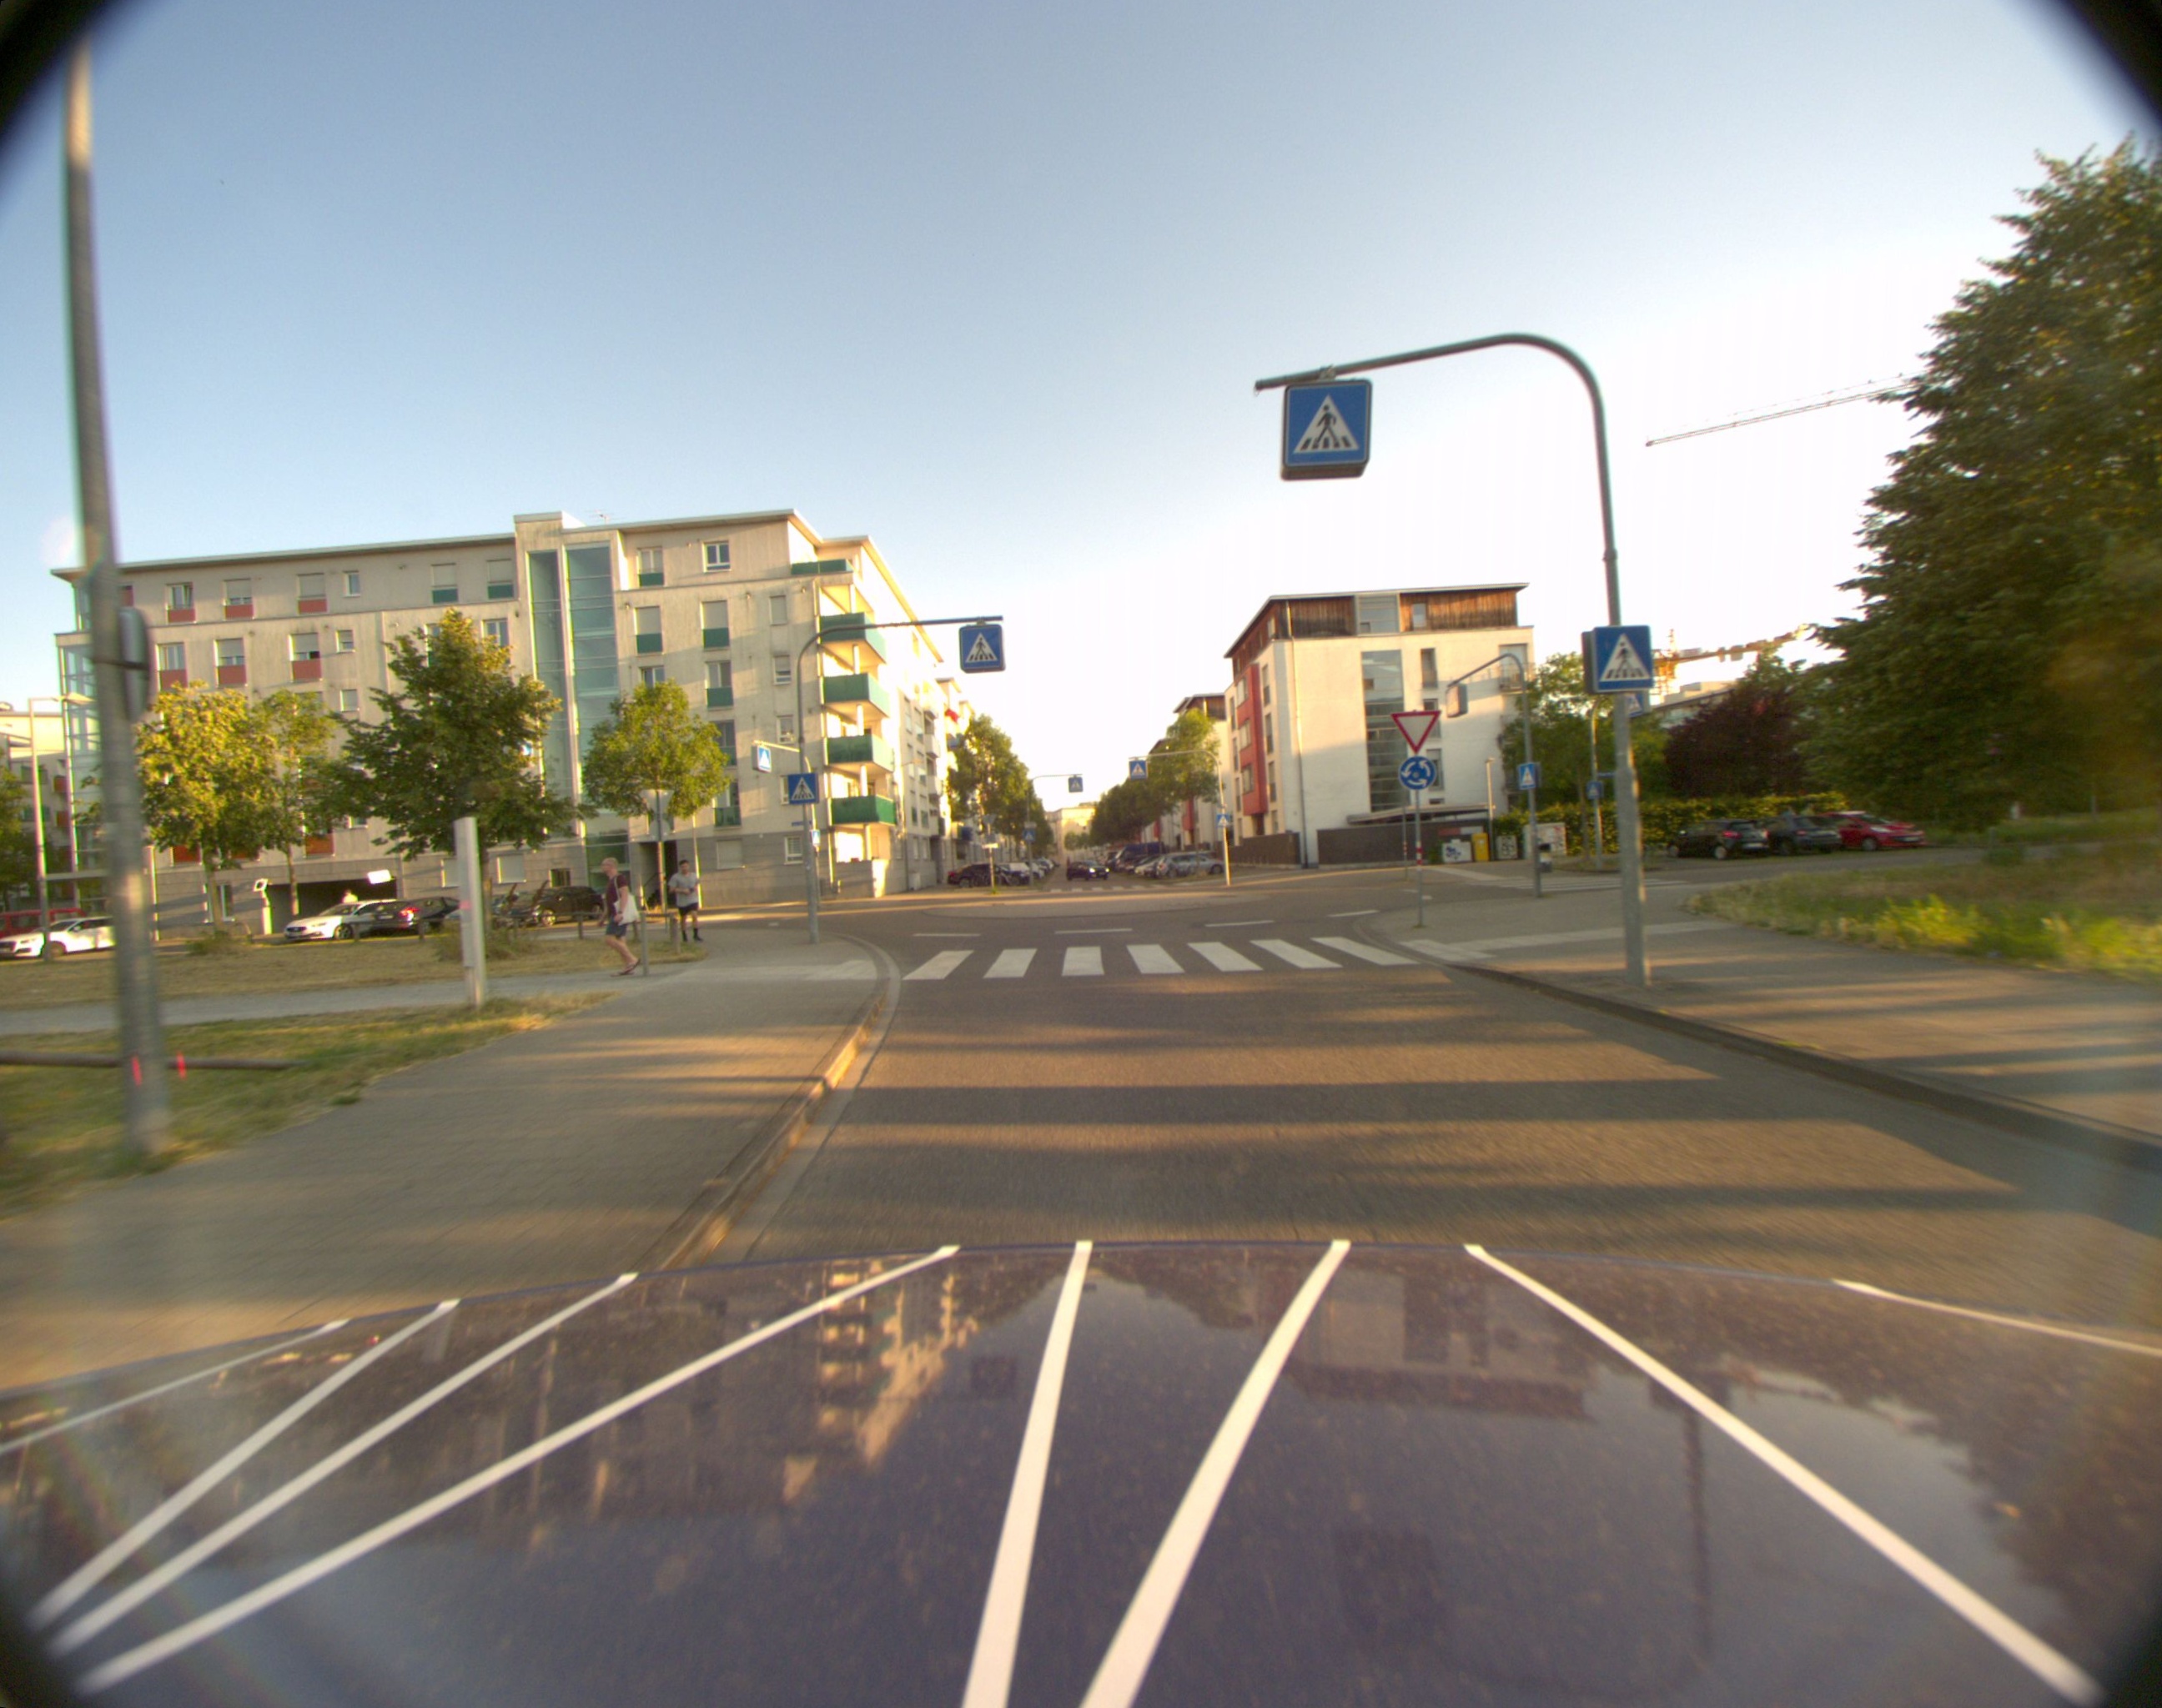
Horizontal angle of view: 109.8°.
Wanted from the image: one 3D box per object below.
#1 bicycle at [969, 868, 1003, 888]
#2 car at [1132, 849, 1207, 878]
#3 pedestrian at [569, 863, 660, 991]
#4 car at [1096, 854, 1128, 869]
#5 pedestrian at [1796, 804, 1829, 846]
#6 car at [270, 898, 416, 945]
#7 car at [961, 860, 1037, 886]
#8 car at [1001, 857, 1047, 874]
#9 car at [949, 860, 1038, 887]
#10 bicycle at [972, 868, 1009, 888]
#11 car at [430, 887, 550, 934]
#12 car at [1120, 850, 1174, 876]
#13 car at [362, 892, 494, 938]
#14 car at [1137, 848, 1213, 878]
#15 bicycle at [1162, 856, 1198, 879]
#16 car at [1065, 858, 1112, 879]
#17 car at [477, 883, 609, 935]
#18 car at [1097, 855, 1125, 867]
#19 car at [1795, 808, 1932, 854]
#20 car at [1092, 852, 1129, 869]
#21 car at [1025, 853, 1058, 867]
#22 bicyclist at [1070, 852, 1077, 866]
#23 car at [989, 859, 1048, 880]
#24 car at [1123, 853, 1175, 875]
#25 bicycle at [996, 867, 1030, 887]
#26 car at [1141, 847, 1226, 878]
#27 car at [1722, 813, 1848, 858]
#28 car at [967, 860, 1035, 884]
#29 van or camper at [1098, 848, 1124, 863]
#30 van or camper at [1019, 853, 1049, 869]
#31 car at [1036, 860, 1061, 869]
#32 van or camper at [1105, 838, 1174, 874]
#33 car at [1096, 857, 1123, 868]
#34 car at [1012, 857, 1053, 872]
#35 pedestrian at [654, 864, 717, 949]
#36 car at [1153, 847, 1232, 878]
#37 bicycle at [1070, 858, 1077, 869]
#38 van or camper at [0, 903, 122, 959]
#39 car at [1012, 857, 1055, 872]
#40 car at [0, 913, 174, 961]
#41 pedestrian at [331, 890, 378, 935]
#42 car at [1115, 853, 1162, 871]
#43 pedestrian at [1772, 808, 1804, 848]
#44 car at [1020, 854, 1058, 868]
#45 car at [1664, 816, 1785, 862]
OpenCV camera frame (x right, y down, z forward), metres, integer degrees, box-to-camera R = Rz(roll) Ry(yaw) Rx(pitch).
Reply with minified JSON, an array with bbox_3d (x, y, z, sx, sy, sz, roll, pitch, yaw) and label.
[{"bbox_3d":[-5.188,1.296,41.471,1.793,1.035,0.567,-1,-1,-5],"label":"bicycle"},{"bbox_3d":[6.089,0.655,52.625,4.760,1.575,1.758,-5,-1,-5],"label":"car"},{"bbox_3d":[-6.859,1.045,11.209,0.734,1.773,0.802,-4,-1,0],"label":"pedestrian"},{"bbox_3d":[4.185,1.022,103.429,4.252,1.991,1.692,-1,-1,-2],"label":"car"},{"bbox_3d":[30.157,-1.194,31.319,0.744,1.657,0.623,-5,1,-21],"label":"pedestrian"},{"bbox_3d":[-28.881,2.607,29.930,1.700,1.471,4.057,-4,-1,1],"label":"car"},{"bbox_3d":[-5.061,1.159,47.168,4.412,1.499,1.743,-1,-1,2],"label":"car"},{"bbox_3d":[-5.146,1.032,69.165,4.103,1.500,1.665,-1,-1,-5],"label":"car"},{"bbox_3d":[-5.074,1.126,44.458,4.886,1.449,1.938,-1,-1,1],"label":"car"},{"bbox_3d":[-5.083,1.350,42.591,2.035,1.040,0.473,-1,-1,-5],"label":"bicycle"},{"bbox_3d":[-23.658,2.220,30.641,1.558,1.366,4.005,-4,2,1],"label":"car"},{"bbox_3d":[5.167,0.709,60.006,3.919,1.700,1.723,-4,0,-5],"label":"car"},{"bbox_3d":[-26.150,2.401,30.625,1.700,1.471,4.057,-4,-1,1],"label":"car"},{"bbox_3d":[6.185,0.592,50.227,4.784,1.546,1.711,-5,-1,3],"label":"car"},{"bbox_3d":[5.482,0.741,42.049,1.821,1.060,0.567,-7,0,-3],"label":"bicycle"},{"bbox_3d":[0.530,1.055,55.424,1.780,1.454,4.170,-1,-1,-25],"label":"car"},{"bbox_3d":[-20.905,2.090,29.812,1.832,1.479,4.479,-4,2,1],"label":"car"},{"bbox_3d":[4.685,1.124,117.302,4.251,1.775,1.693,-1,-1,0],"label":"car"},{"bbox_3d":[29.080,-0.816,28.393,1.593,1.491,3.411,-4,0,1],"label":"car"},{"bbox_3d":[3.537,0.794,90.583,4.252,1.919,1.692,-1,-1,-2],"label":"car"},{"bbox_3d":[-5.220,0.738,100.681,4.251,1.768,1.693,-1,-1,0],"label":"car"},{"bbox_3d":[-0.928,0.602,90.766,0.767,1.617,0.663,-4,-1,-2],"label":"bicyclist"},{"bbox_3d":[-4.687,1.147,57.291,4.295,1.499,1.685,-1,-1,-4],"label":"car"},{"bbox_3d":[5.535,0.819,62.302,3.919,1.506,1.723,-4,0,-5],"label":"car"},{"bbox_3d":[-3.780,1.293,42.197,1.840,1.065,0.473,-1,-1,-5],"label":"bicycle"},{"bbox_3d":[6.356,0.552,47.387,4.916,1.469,1.710,-5,-1,-3],"label":"car"},{"bbox_3d":[26.522,-0.669,28.762,1.593,1.491,3.411,-4,0,1],"label":"car"},{"bbox_3d":[-5.211,1.152,49.773,4.294,1.485,1.742,-1,-1,-2],"label":"car"},{"bbox_3d":[5.052,0.293,127.573,4.251,2.520,1.761,-1,0,0],"label":"van or camper"},{"bbox_3d":[-6.807,1.006,110.228,4.251,2.197,1.692,-1,0,-1],"label":"van or camper"},{"bbox_3d":[-5.774,1.846,134.113,4.251,1.629,1.693,-1,-1,0],"label":"car"},{"bbox_3d":[5.757,0.216,75.554,6.315,3.069,2.442,-4,0,-5],"label":"van or camper"},{"bbox_3d":[4.443,1.353,119.806,4.251,1.629,1.693,-1,-1,0],"label":"car"},{"bbox_3d":[-5.228,1.143,81.960,4.251,1.527,1.693,-1,-1,0],"label":"car"},{"bbox_3d":[-8.412,1.107,16.196,0.801,1.719,0.768,-4,-1,7],"label":"pedestrian"},{"bbox_3d":[6.550,0.495,44.929,4.292,1.449,1.680,-4,-1,-3],"label":"car"},{"bbox_3d":[-0.896,1.110,90.729,0.771,1.259,1.781,-4,-1,-2],"label":"bicycle"},{"bbox_3d":[-43.780,3.219,31.322,1.876,2.047,5.132,-4,-1,0],"label":"van or camper"},{"bbox_3d":[-4.855,1.059,77.016,4.253,1.500,1.751,-1,-1,-5],"label":"car"},{"bbox_3d":[-40.885,3.351,31.258,1.700,1.512,4.468,-4,-1,1],"label":"car"},{"bbox_3d":[-32.787,2.629,34.300,1.049,1.883,0.980,-4,-1,2],"label":"pedestrian"},{"bbox_3d":[5.294,0.760,70.446,4.103,1.616,1.723,-1,-1,-5],"label":"car"},{"bbox_3d":[29.734,-1.107,31.968,0.713,1.590,0.655,-5,1,-22],"label":"pedestrian"},{"bbox_3d":[-4.815,0.812,87.449,4.251,1.527,1.693,-1,-1,0],"label":"car"},{"bbox_3d":[24.409,-0.546,28.979,1.689,1.513,3.411,-4,0,1],"label":"car"}]
